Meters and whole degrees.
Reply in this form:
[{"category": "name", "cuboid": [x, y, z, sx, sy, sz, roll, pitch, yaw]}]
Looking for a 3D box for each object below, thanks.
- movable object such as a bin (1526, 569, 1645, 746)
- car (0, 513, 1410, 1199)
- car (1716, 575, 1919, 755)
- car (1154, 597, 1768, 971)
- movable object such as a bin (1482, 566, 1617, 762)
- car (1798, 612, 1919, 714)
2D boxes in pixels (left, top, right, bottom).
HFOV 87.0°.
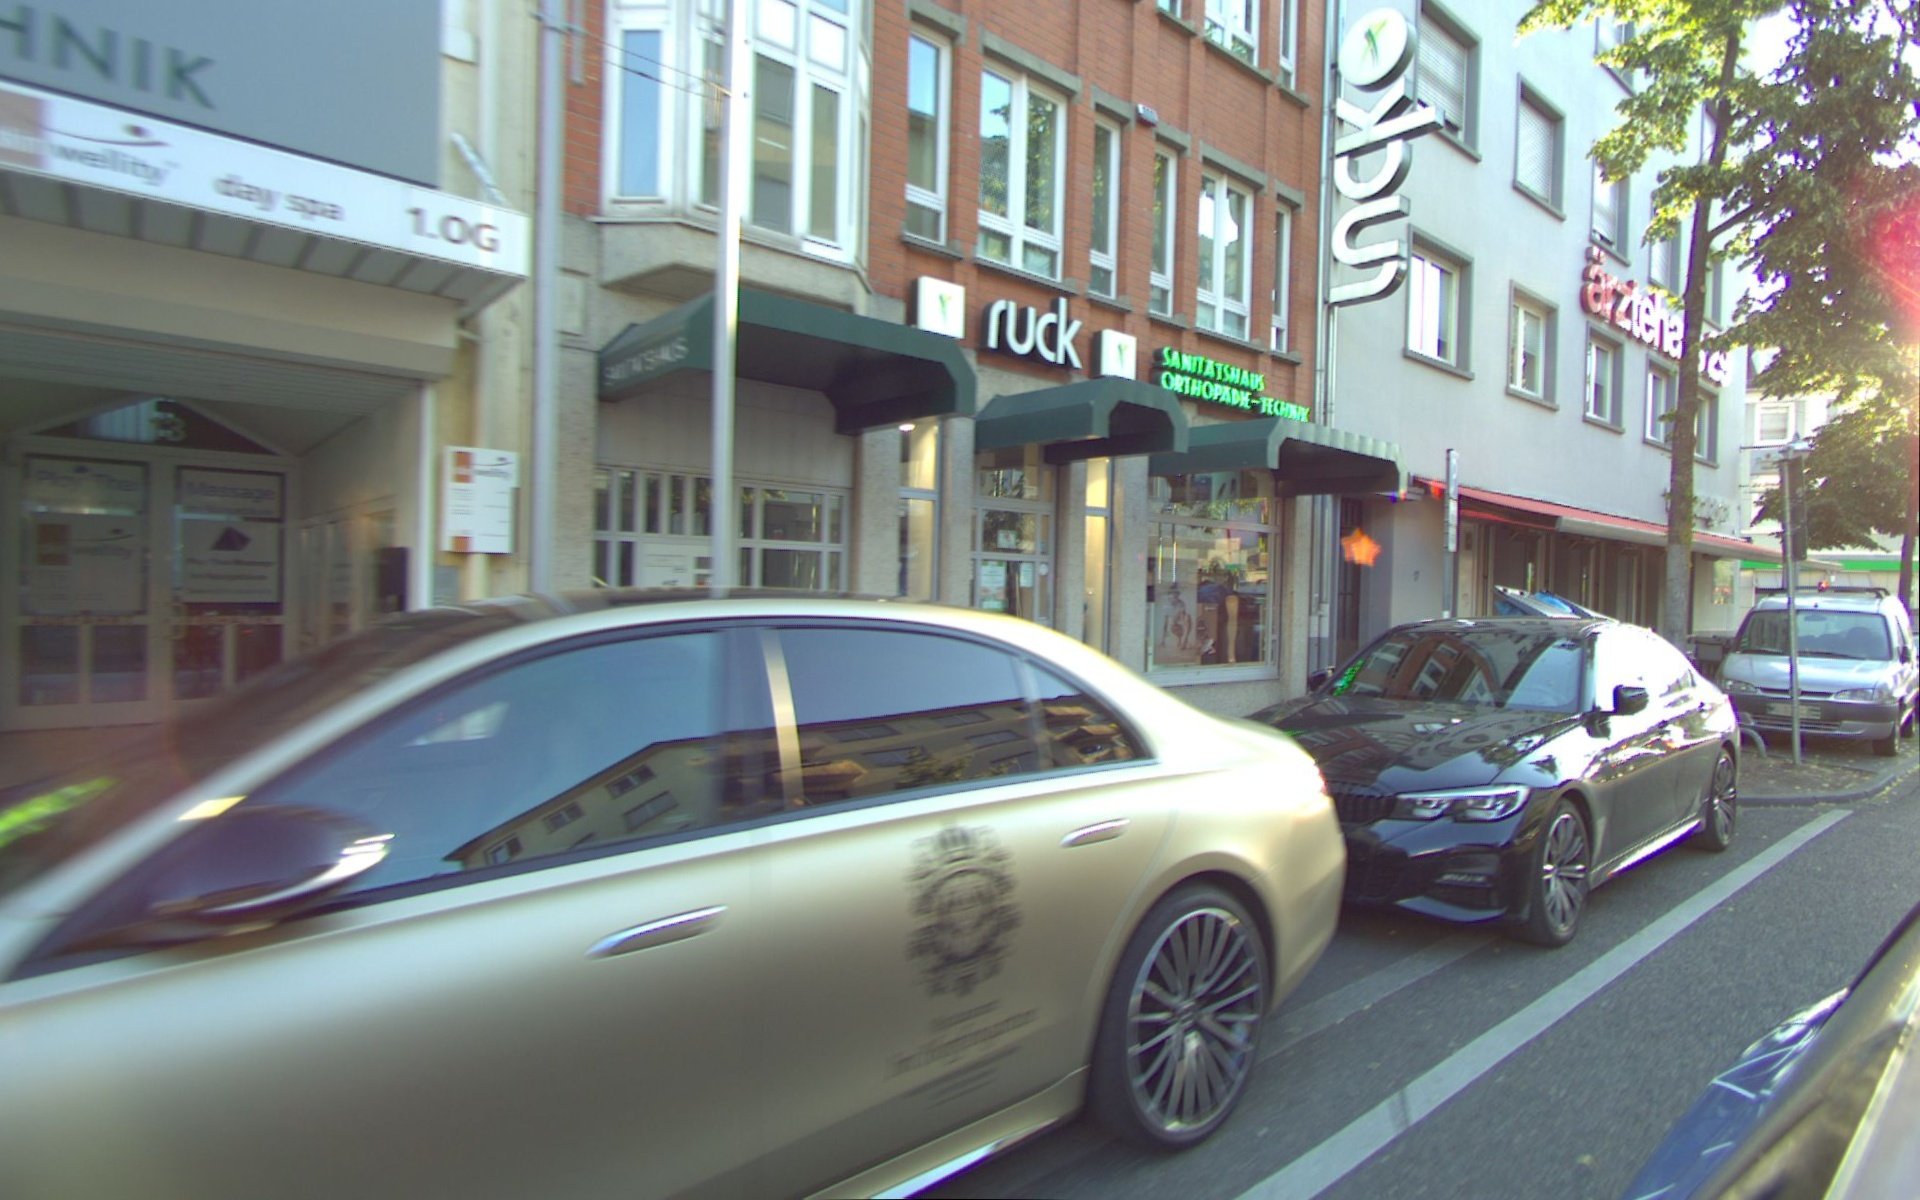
[{"category": "movable object such as a bin", "cuboid": [6.770, 0.576, 10.945, 1.186, 1.796, 0.835, 0, 0, -44]}, {"category": "car", "cuboid": [-0.995, 0.658, 2.495, 4.903, 1.546, 1.816, 0, 0, -39]}, {"category": "car", "cuboid": [10.466, 0.671, 12.098, 3.944, 1.801, 1.656, 1, -1, -44]}, {"category": "car", "cuboid": [3.241, 0.733, 6.048, 4.431, 1.438, 1.755, 1, 0, -41]}, {"category": "movable object such as a bin", "cuboid": [5.858, 0.583, 10.045, 1.331, 1.796, 0.835, 0, 0, -44]}, {"category": "car", "cuboid": [14.775, 0.909, 15.880, 4.110, 1.394, 1.940, 1, 0, -42]}]
